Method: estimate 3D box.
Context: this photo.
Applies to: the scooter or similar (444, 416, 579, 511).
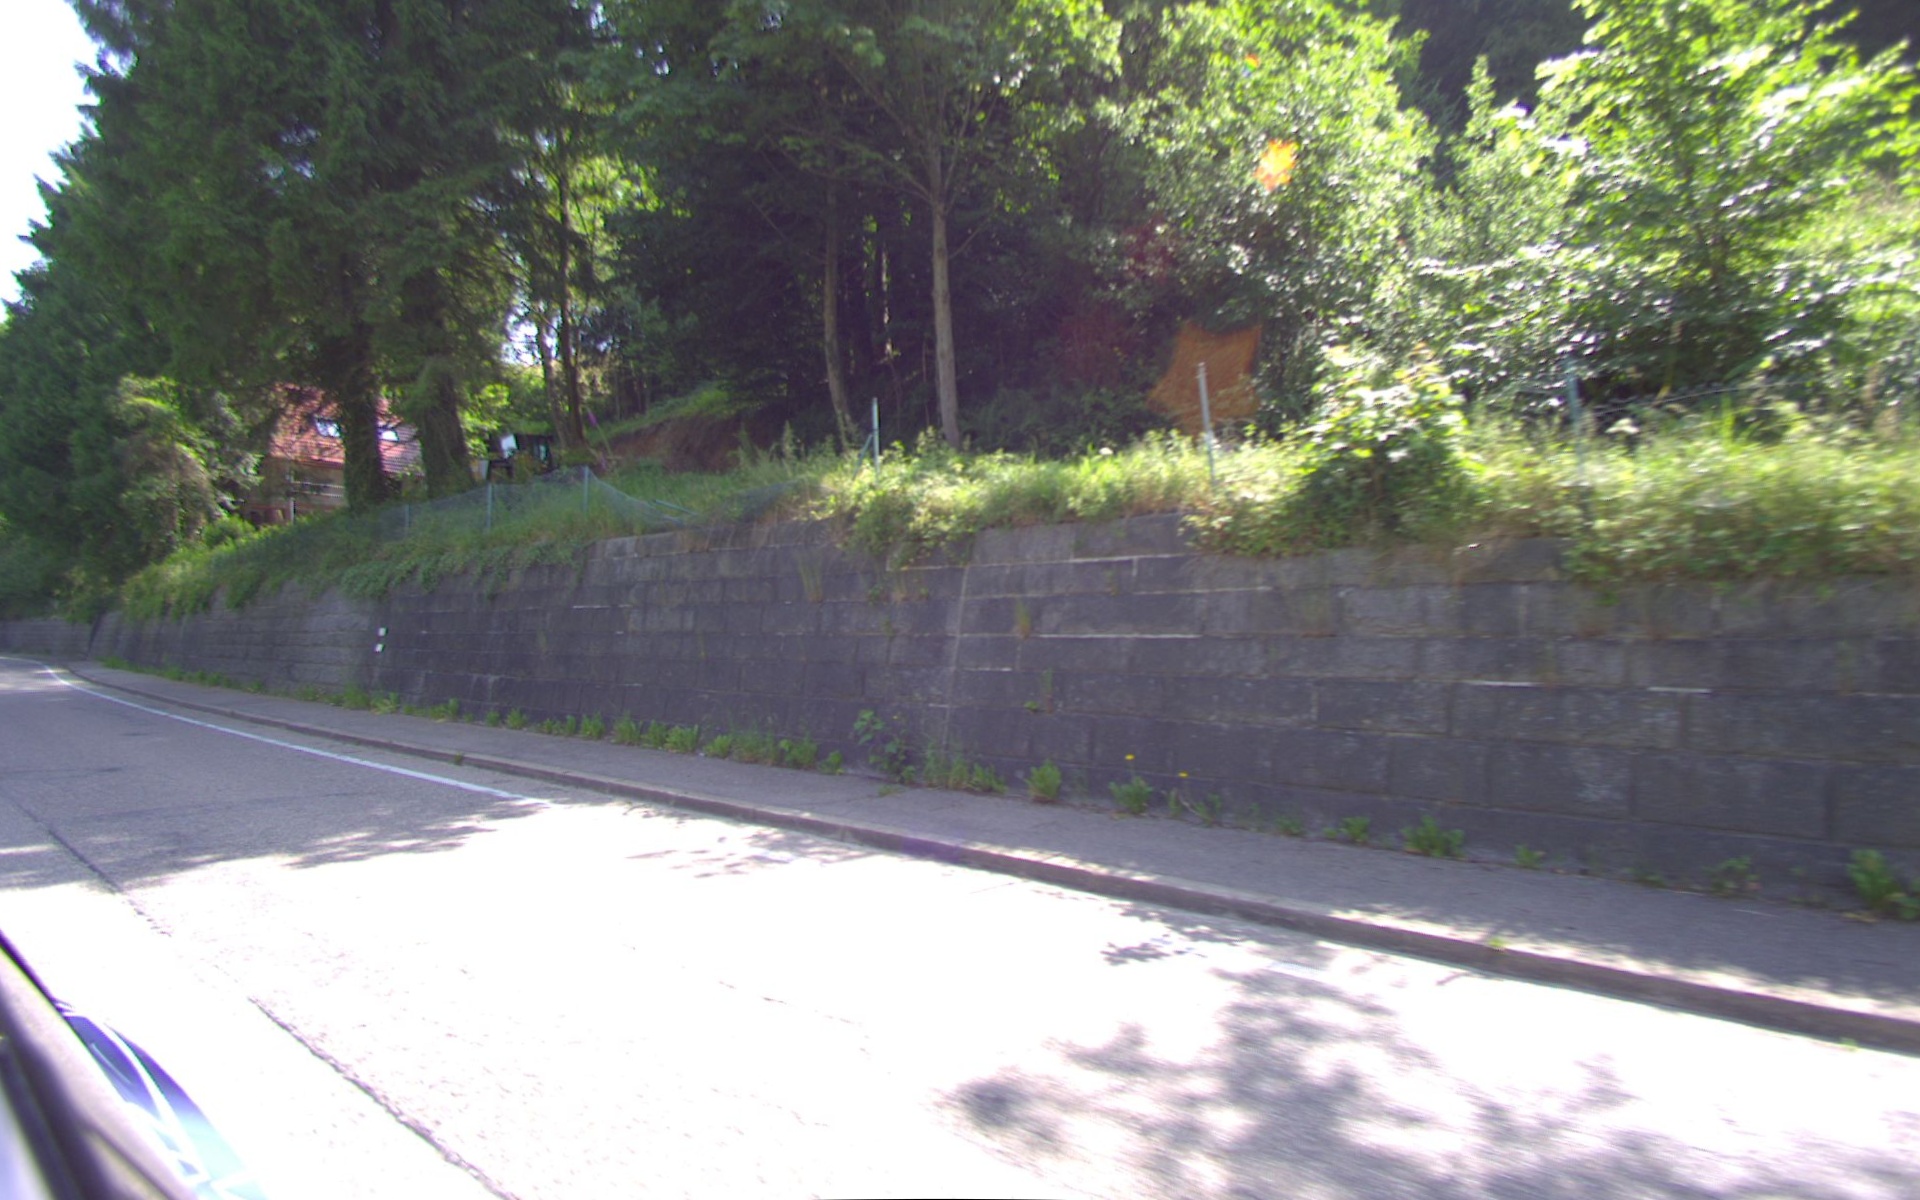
[{"bbox_3d":[-12.523,-3.688,28.108,1.955,2.042,4.409,-5,2,-44],"label":"scooter or similar"}]
